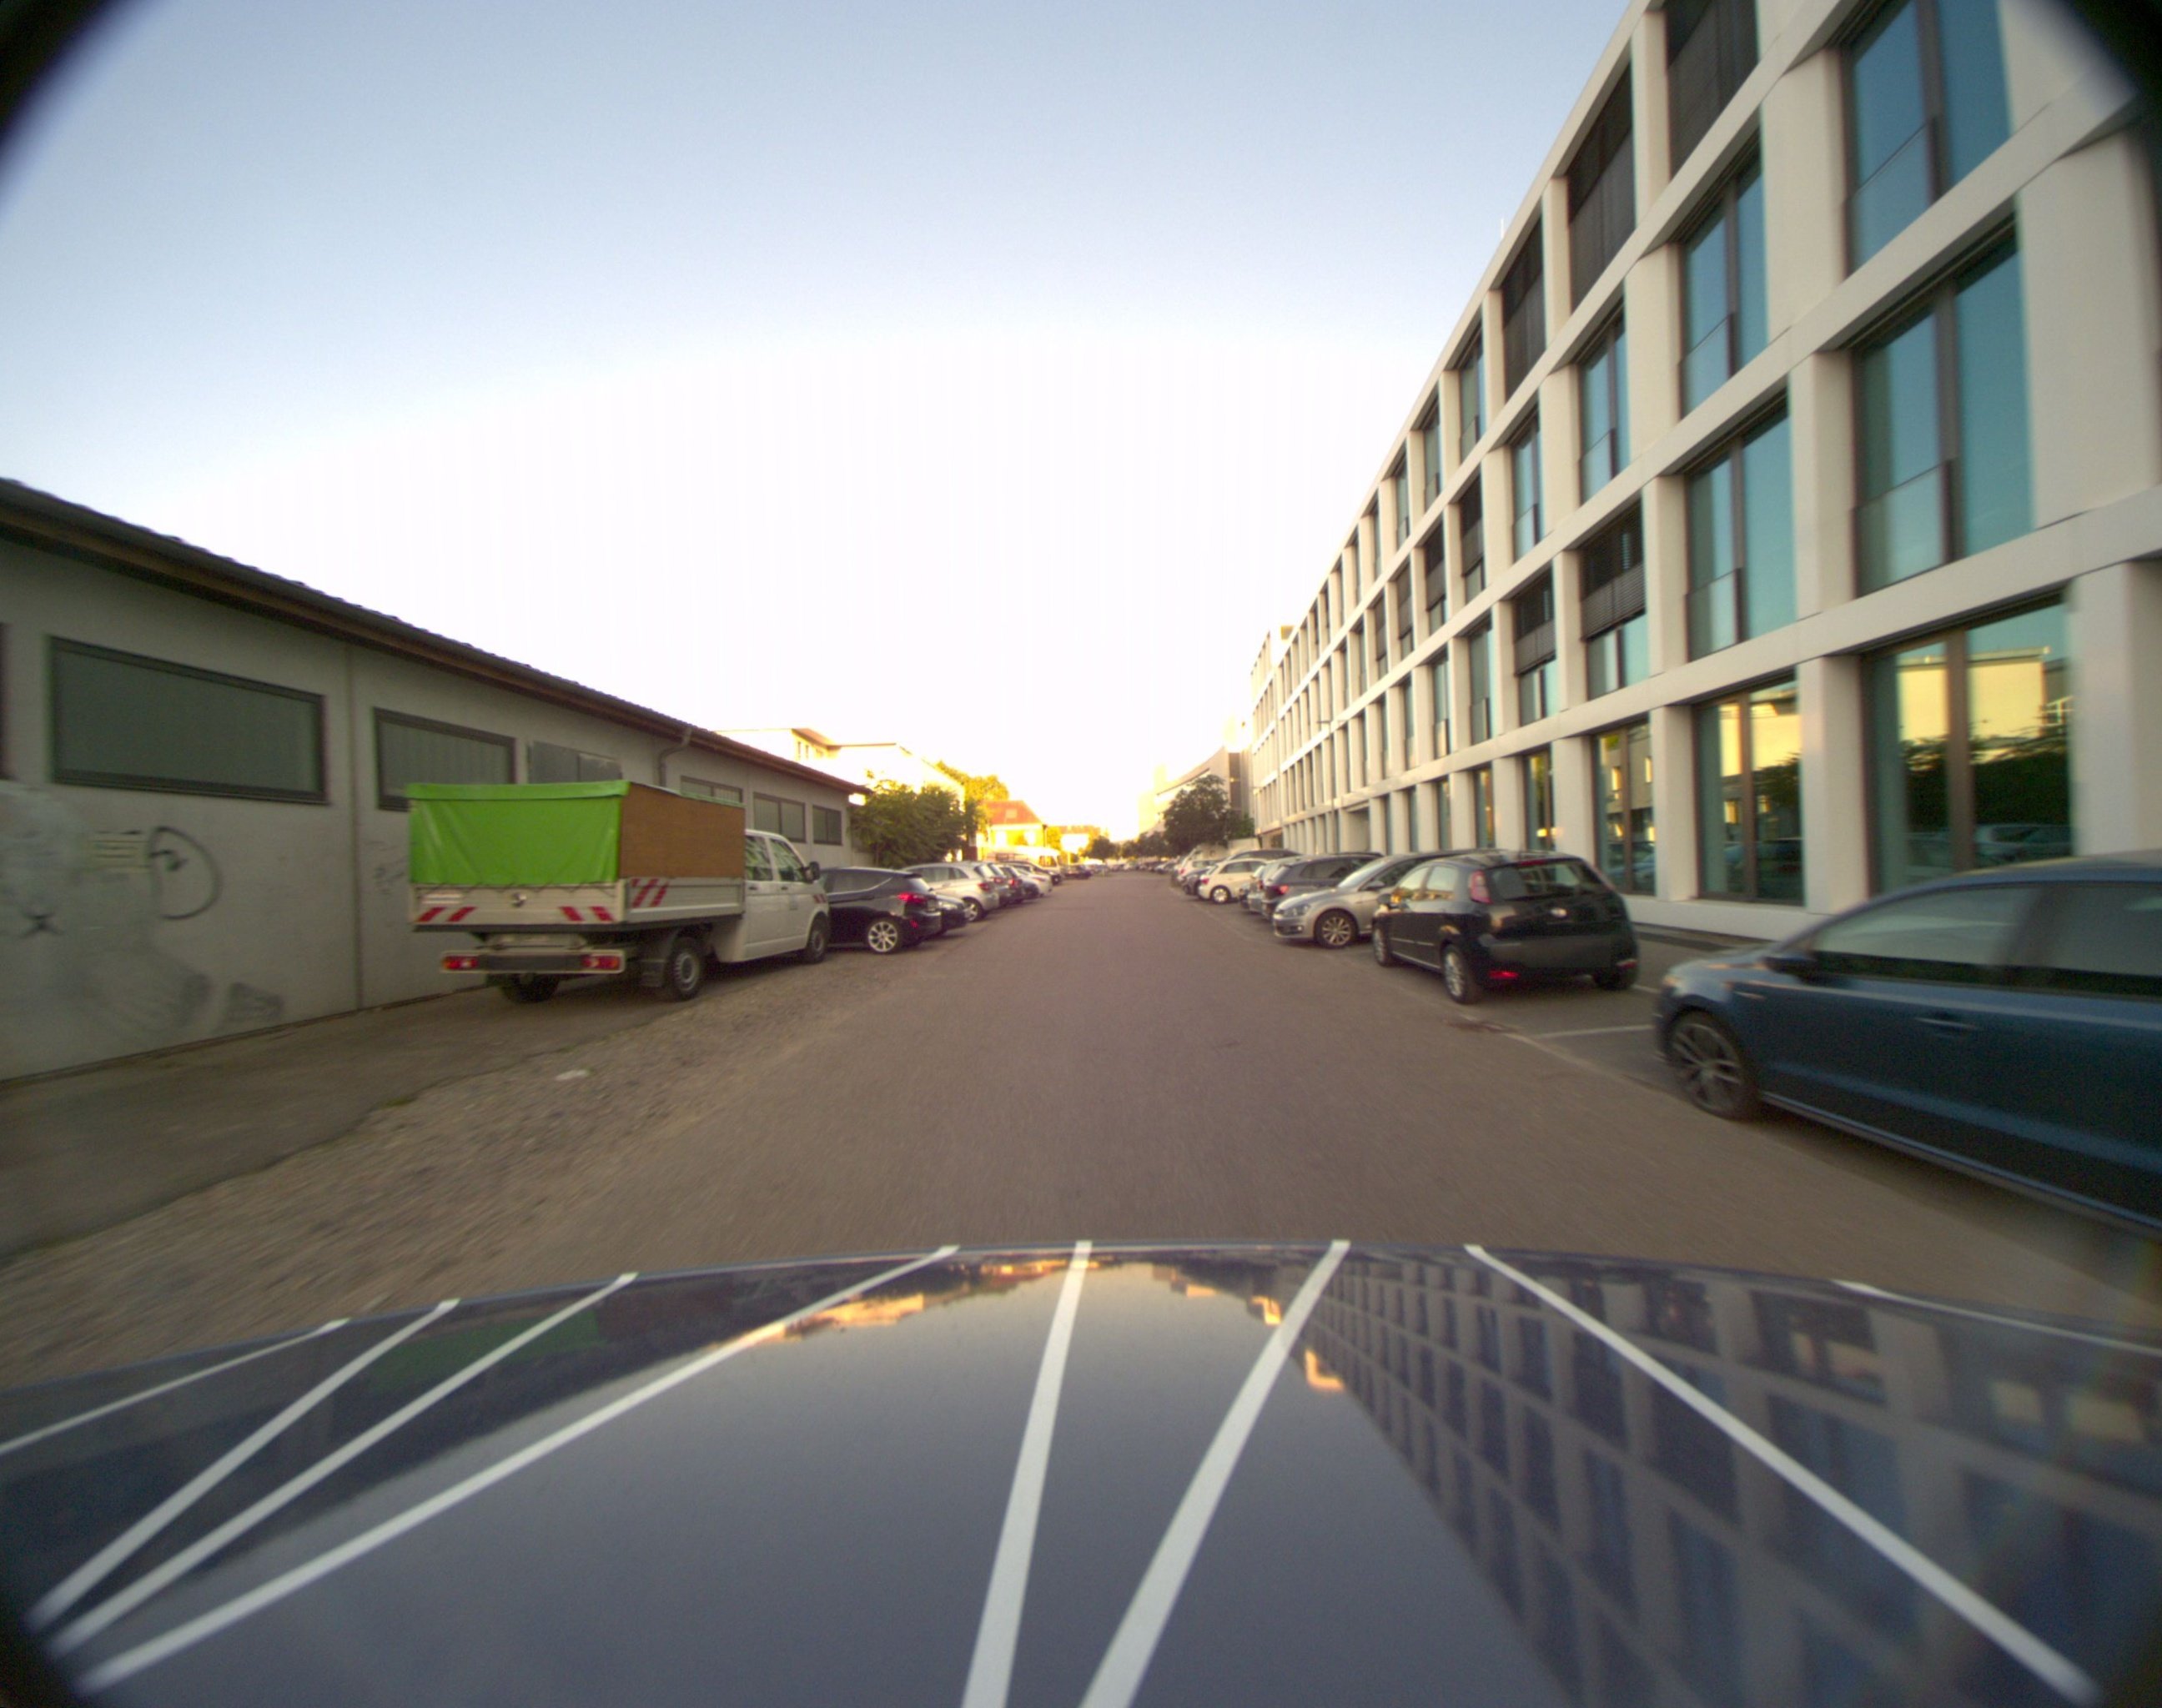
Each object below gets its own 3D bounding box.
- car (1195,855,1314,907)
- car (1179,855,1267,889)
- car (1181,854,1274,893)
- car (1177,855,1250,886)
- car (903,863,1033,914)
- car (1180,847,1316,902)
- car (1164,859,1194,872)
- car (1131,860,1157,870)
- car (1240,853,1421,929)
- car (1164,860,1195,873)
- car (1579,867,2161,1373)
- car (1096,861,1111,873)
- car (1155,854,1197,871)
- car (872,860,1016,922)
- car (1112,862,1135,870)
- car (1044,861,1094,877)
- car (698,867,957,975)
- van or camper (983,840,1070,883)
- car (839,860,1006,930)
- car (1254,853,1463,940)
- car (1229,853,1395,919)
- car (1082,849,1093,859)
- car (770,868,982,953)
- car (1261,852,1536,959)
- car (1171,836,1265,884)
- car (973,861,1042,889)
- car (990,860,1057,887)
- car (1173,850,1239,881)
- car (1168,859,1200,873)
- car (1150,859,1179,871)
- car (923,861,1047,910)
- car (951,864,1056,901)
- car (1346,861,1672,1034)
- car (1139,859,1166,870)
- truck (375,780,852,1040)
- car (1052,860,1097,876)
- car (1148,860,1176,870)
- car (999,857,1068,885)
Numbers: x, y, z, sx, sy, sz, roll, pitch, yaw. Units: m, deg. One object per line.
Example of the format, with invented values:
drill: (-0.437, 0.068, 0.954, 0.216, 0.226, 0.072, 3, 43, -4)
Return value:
car: (5.700, 0.886, 25.336, 3.673, 1.502, 1.697, -3, -1, 9)
car: (7.287, 0.915, 39.391, 4.317, 1.486, 1.796, -3, -1, 7)
car: (6.472, 0.874, 33.900, 3.790, 1.513, 1.694, -3, -1, 3)
car: (7.211, 0.901, 41.659, 3.716, 1.486, 1.708, -3, -1, 5)
car: (-3.762, 1.143, 25.747, 3.992, 1.437, 1.827, -3, 1, 4)
car: (6.048, 0.738, 27.878, 4.627, 1.696, 2.006, -3, -1, 9)
car: (12.572, 1.500, 98.099, 3.654, 1.416, 1.726, -4, 0, 3)
car: (10.743, 1.911, 128.795, 4.027, 1.340, 1.799, -4, -1, -7)
car: (5.714, 0.842, 17.776, 3.662, 1.502, 1.688, -3, -1, 6)
car: (12.377, 1.536, 95.459, 3.653, 1.416, 1.726, -4, -1, 4)
car: (4.214, 0.861, 3.095, 1.652, 1.430, 4.186, -6, -1, 2)
car: (2.846, 1.660, 94.937, 1.680, 1.454, 4.369, -1, -1, 3)
car: (12.579, 1.111, 100.783, 5.082, 1.869, 1.889, -4, 0, -1)
car: (-4.099, 1.086, 23.268, 3.994, 1.609, 1.827, -3, 0, 0)
car: (8.096, 2.288, 143.924, 4.027, 1.340, 1.799, -4, -1, -7)
car: (-1.006, 1.307, 67.460, 4.325, 1.325, 1.896, -1, 0, 2)
car: (-4.302, 1.122, 13.301, 3.767, 1.527, 1.891, -3, 1, 5)
van or camper: (-3.779, 0.533, 53.734, 5.794, 2.847, 2.487, -1, 0, 2)
car: (-4.202, 1.065, 20.582, 3.993, 1.600, 1.939, -3, 0, 2)
car: (5.544, 0.844, 15.584, 3.662, 1.502, 1.688, -3, -1, 6)
car: (6.102, 0.835, 20.487, 3.972, 1.502, 1.797, -3, -1, 7)
car: (1.025, -0.002, 123.054, 1.770, 1.454, 4.368, -1, -1, 0)
car: (-4.119, 1.118, 15.729, 3.768, 1.436, 1.845, -3, 0, 2)
car: (5.202, 0.843, 12.912, 3.934, 1.502, 1.688, -3, -1, 6)
car: (8.266, 0.378, 46.260, 5.392, 2.617, 2.079, -3, -1, 6)
car: (-4.139, 1.176, 43.199, 3.713, 1.470, 1.712, -1, 0, 2)
car: (-3.562, 1.204, 47.606, 4.014, 1.554, 1.712, -1, 0, 0)
car: (8.435, 0.779, 51.470, 4.118, 1.806, 1.816, -3, -1, 1)
car: (12.574, 1.449, 92.749, 3.653, 1.538, 1.726, -4, 0, 4)
car: (12.115, 1.606, 110.409, 3.811, 1.352, 1.799, -4, -1, -1)
car: (-3.524, 1.153, 28.368, 4.211, 1.494, 1.890, -3, 1, 5)
car: (-3.332, 1.220, 33.225, 4.211, 1.359, 1.824, -3, -1, 7)
car: (4.637, 0.884, 9.052, 1.652, 1.430, 4.203, -6, -1, 4)
car: (11.657, 1.668, 123.847, 4.027, 1.574, 1.799, -4, 0, -7)
truck: (-4.904, 0.570, 9.393, 2.102, 2.187, 5.714, -1, -2, 3)
car: (-0.568, 1.282, 69.745, 4.065, 1.399, 1.897, -1, -1, 2)
car: (12.068, 1.643, 113.116, 3.811, 1.352, 1.799, -4, -1, -1)
car: (-3.138, 1.122, 50.759, 4.248, 1.731, 1.969, -1, 0, 8)
